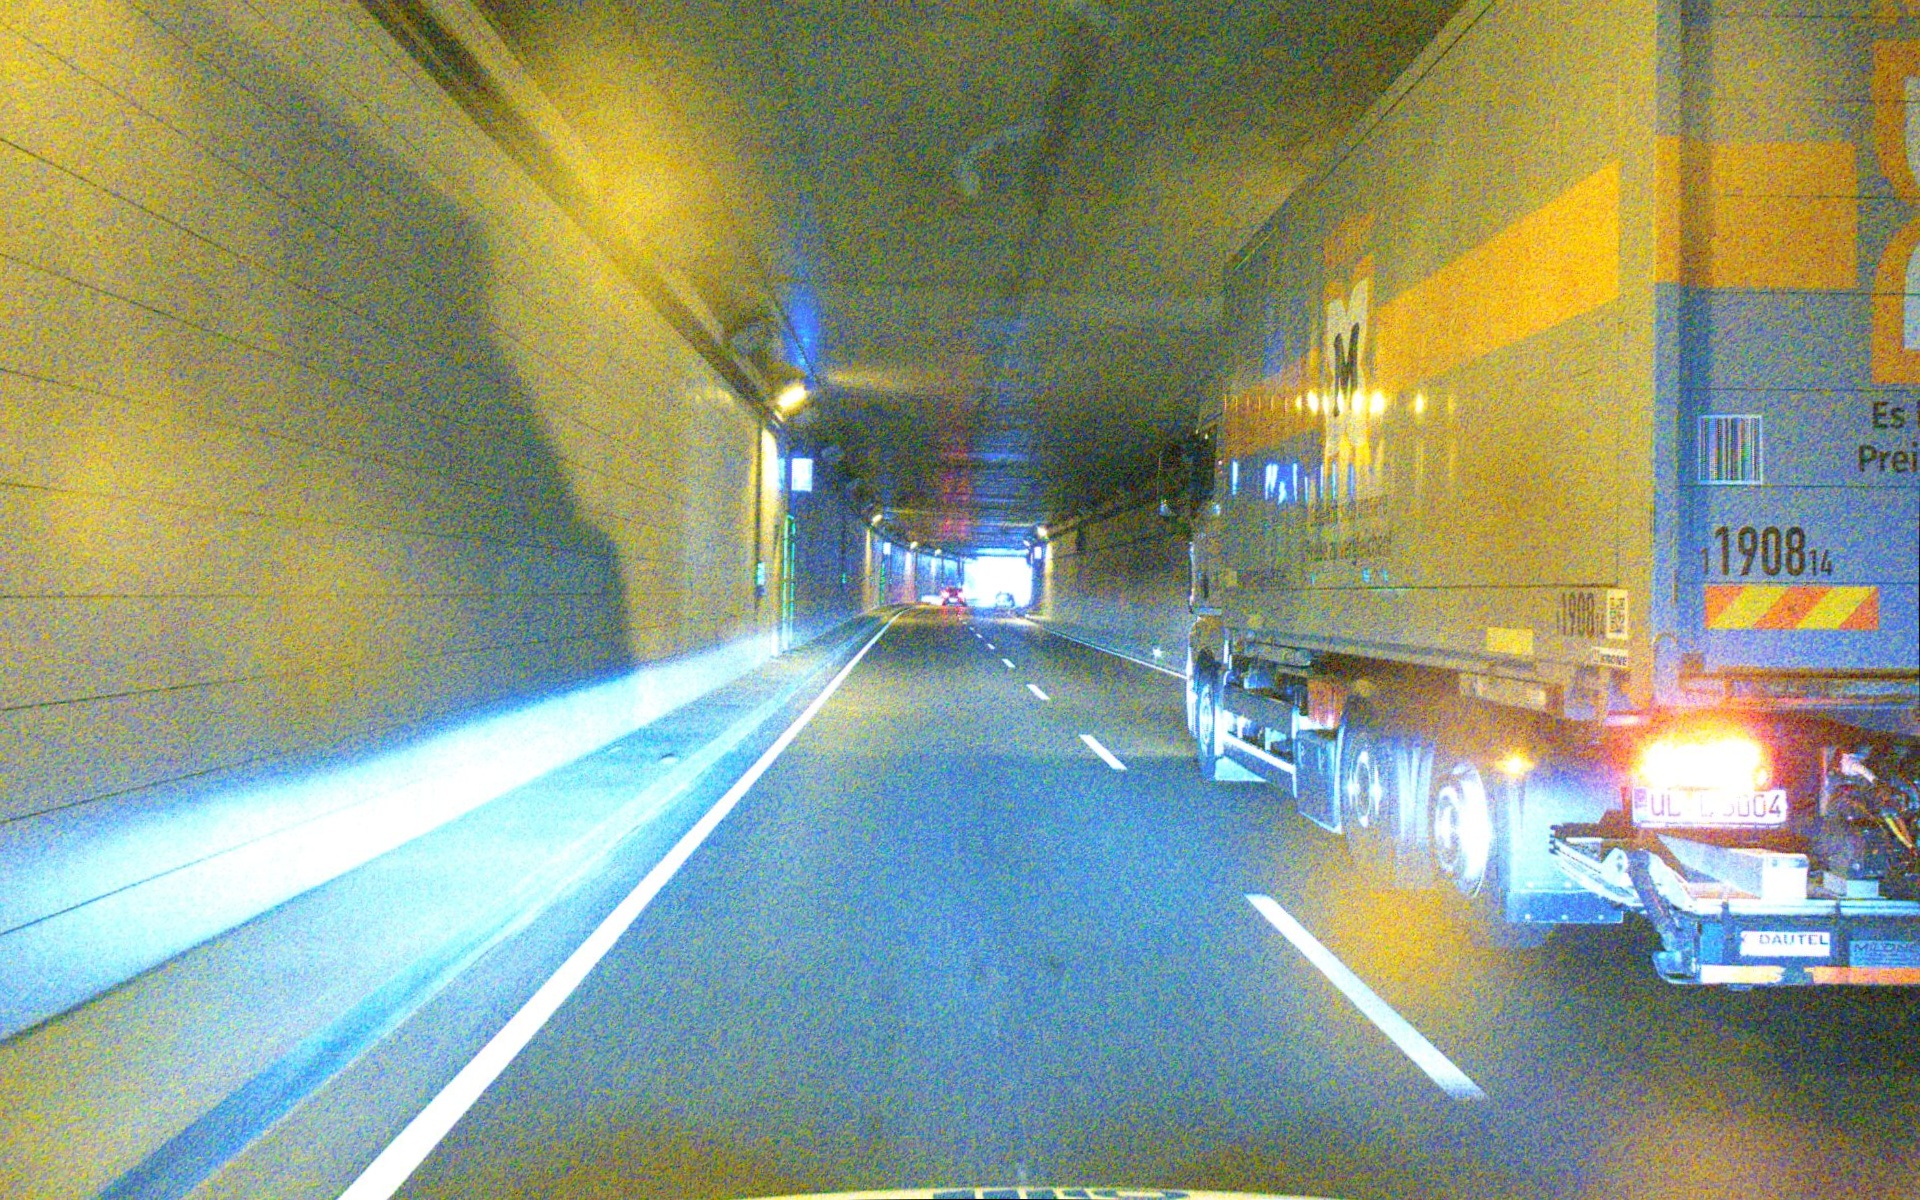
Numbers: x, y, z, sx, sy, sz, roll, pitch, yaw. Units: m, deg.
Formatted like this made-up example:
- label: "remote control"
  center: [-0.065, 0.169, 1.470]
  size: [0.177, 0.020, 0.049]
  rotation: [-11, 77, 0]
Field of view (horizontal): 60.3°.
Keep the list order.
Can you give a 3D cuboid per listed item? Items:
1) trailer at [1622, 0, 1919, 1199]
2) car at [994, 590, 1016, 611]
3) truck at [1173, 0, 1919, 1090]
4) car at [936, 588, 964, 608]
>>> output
- label: "trailer"
  center: [3.501, -0.484, 0.491]
  size: [2.817, 3.926, 8.946]
  rotation: [1, 0, -1]
- label: "car"
  center: [3.950, 0.057, 144.364]
  size: [1.830, 1.763, 4.001]
  rotation: [1, 0, 2]
- label: "truck"
  center: [3.392, -0.544, 9.914]
  size: [2.830, 3.982, 9.908]
  rotation: [1, 0, 0]
- label: "car"
  center: [-0.767, -0.131, 125.037]
  size: [1.802, 1.413, 4.002]
  rotation: [1, 0, 4]
